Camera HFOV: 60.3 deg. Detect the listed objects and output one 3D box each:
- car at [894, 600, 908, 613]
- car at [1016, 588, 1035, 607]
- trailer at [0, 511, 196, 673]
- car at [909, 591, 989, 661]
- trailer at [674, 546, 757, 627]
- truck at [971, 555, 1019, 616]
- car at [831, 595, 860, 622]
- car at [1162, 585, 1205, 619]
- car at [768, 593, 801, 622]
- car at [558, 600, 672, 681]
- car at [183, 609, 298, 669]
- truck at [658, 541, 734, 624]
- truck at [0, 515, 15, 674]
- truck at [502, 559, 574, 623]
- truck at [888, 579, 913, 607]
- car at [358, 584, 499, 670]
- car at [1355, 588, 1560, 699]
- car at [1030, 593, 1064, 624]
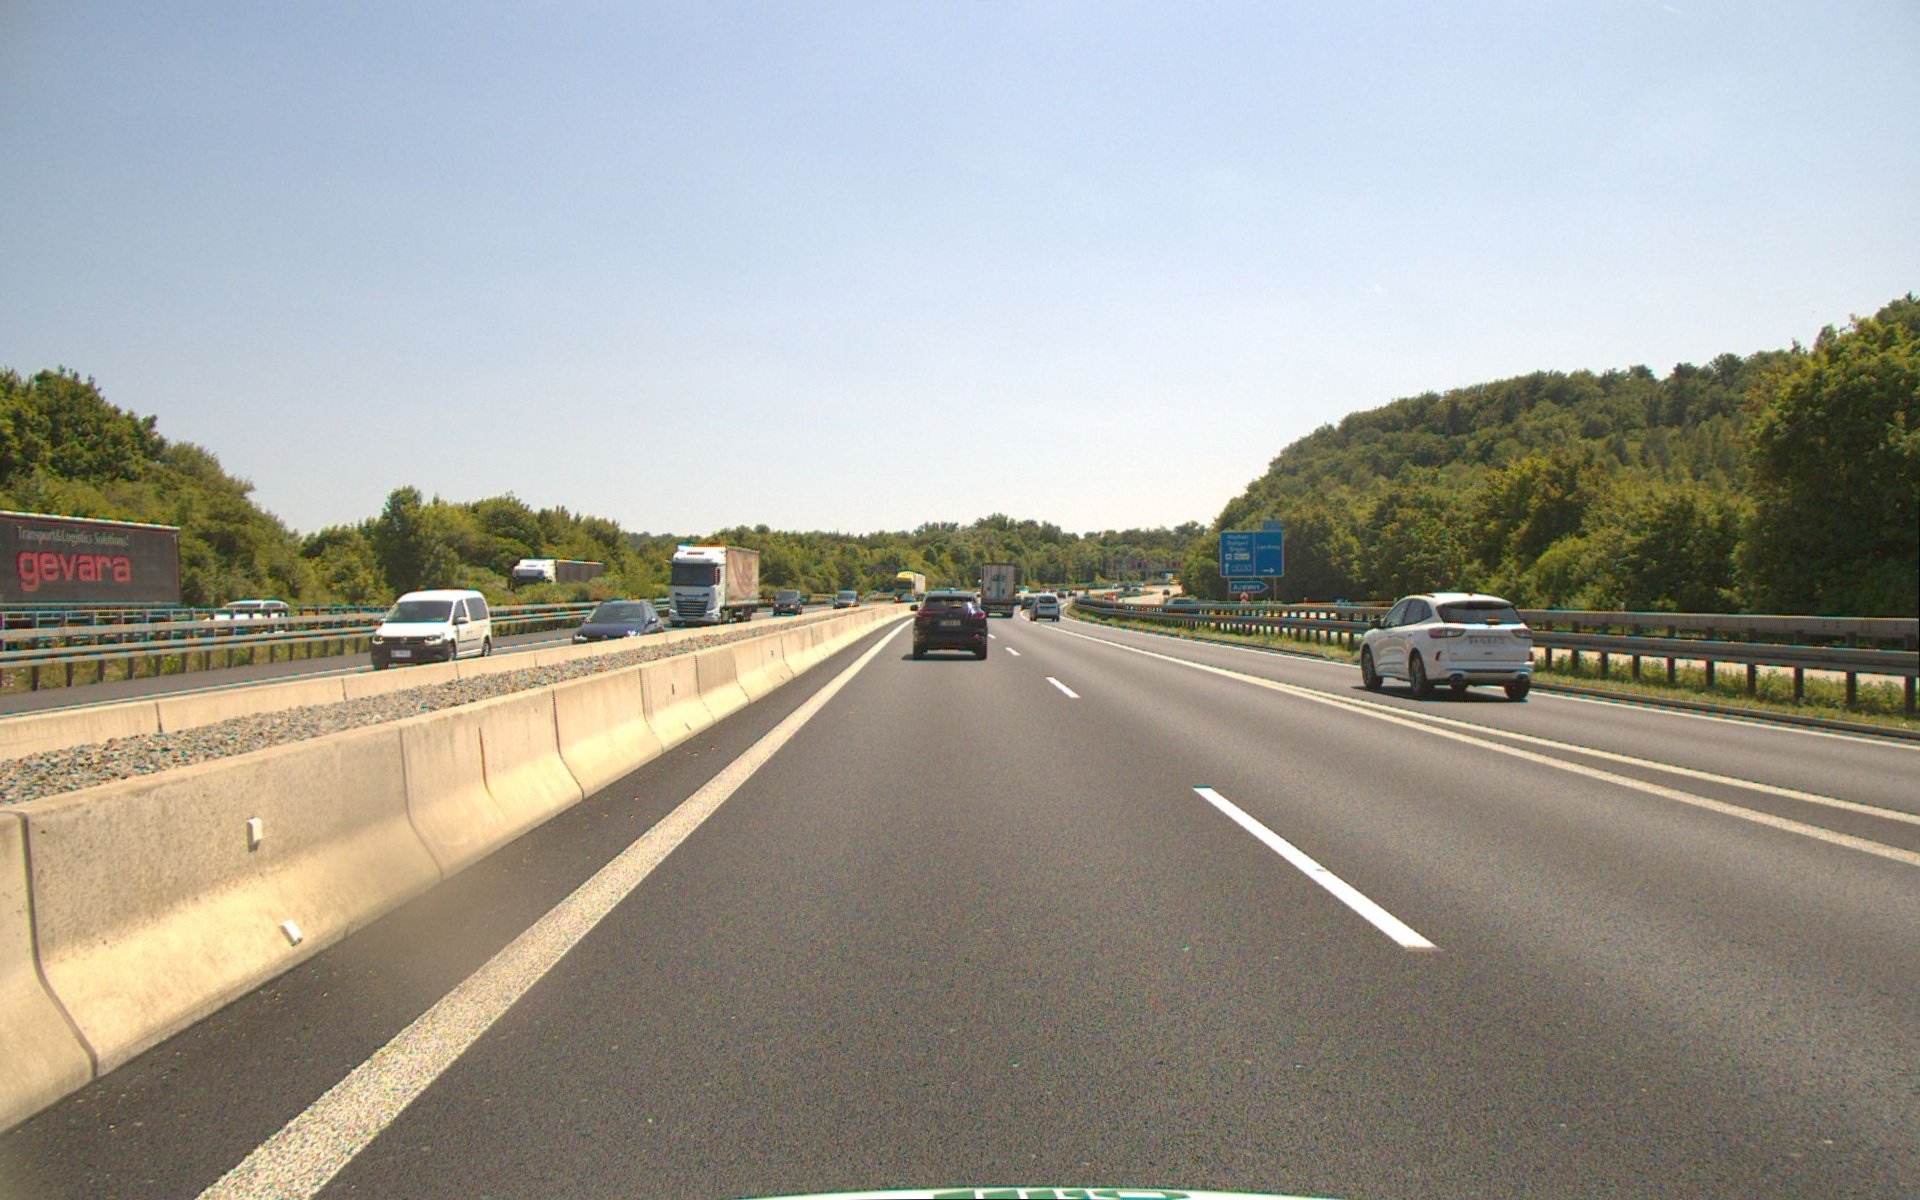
[{"bbox_3d":[-7.086,0.788,198.991,1.694,1.563,4.611,1,0,-2],"label":"car"},{"bbox_3d":[7.258,-0.288,181.991,1.952,2.049,4.002,1,0,4],"label":"car"},{"bbox_3d":[-27.935,-0.227,51.895,2.738,4.511,11.649,1,0,-2],"label":"trailer"},{"bbox_3d":[-0.313,0.616,40.550,1.744,1.605,3.997,1,0,-3],"label":"car"},{"bbox_3d":[-13.417,-0.676,91.868,2.850,4.116,12.061,1,0,-1],"label":"trailer"},{"bbox_3d":[2.799,-1.061,128.793,2.968,4.496,12.025,1,0,5],"label":"truck"},{"bbox_3d":[-9.030,0.686,130.433,2.009,2.049,4.953,1,0,-1],"label":"car"},{"bbox_3d":[14.065,0.102,104.342,1.954,2.049,3.998,-1,0,-3],"label":"car"},{"bbox_3d":[-12.588,0.539,119.033,1.953,2.049,4.484,1,0,-1],"label":"car"},{"bbox_3d":[-8.450,0.962,40.934,1.944,1.858,4.824,1,0,-2],"label":"car"},{"bbox_3d":[-24.171,1.277,55.762,1.953,1.890,4.537,0,0,-1],"label":"car"},{"bbox_3d":[-13.271,-0.843,83.543,2.869,4.042,5.897,1,0,-1],"label":"truck"},{"bbox_3d":[-27.734,-0.179,43.575,2.753,4.347,4.997,1,0,-1],"label":"truck"},{"bbox_3d":[-28.389,-0.557,111.519,3.154,4.116,6.638,1,0,-1],"label":"truck"},{"bbox_3d":[-8.156,-0.914,227.013,2.691,3.820,4.869,1,0,5],"label":"truck"},{"bbox_3d":[-12.419,0.605,38.977,1.706,1.858,4.903,1,0,0],"label":"car"},{"bbox_3d":[8.198,0.679,27.714,1.953,1.691,4.466,1,0,-2],"label":"car"},{"bbox_3d":[5.950,0.553,113.832,1.953,2.049,3.999,-2,0,-1],"label":"car"}]
